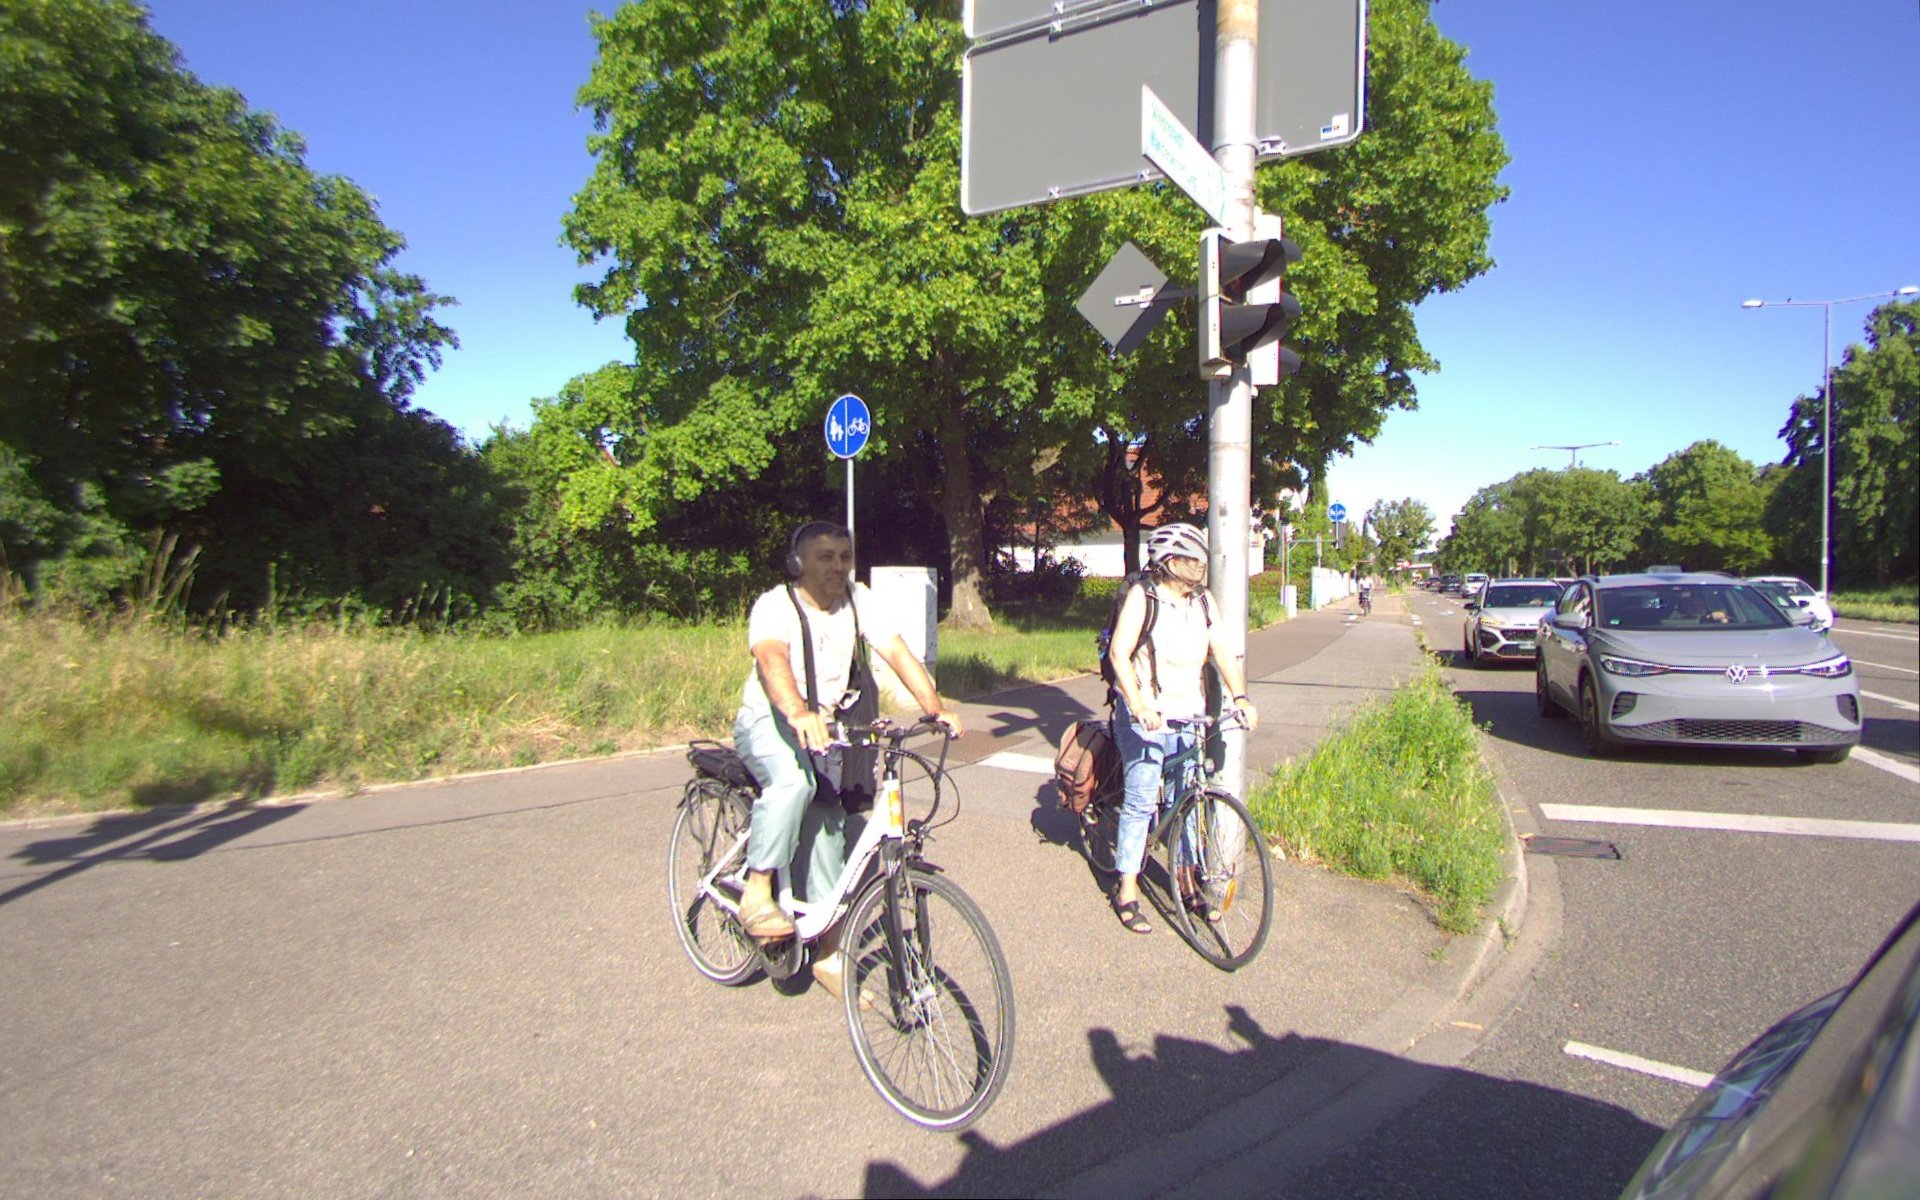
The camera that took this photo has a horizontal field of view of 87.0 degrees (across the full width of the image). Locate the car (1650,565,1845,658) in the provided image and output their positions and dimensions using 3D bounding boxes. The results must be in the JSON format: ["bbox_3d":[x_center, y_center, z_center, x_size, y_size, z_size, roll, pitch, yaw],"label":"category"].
[{"bbox_3d":[14.494,0.147,18.919,1.901,1.504,4.327,-2,1,25],"label":"car"}]

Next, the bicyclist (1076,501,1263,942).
[{"bbox_3d":[0.866,0.450,4.274,0.516,1.716,0.587,-2,4,-26],"label":"bicyclist"}]

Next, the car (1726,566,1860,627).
[{"bbox_3d":[21.869,-0.134,26.735,1.674,1.458,3.881,-2,1,24],"label":"car"}]

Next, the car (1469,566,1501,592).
[{"bbox_3d":[39.292,-1.580,75.828,1.779,1.820,3.881,-2,1,24],"label":"car"}]

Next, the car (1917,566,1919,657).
[{"bbox_3d":[15.342,0.241,14.042,1.674,1.458,4.089,0,1,24],"label":"car"}]

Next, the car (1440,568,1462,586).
[{"bbox_3d":[50.700,-2.382,104.572,1.821,1.820,3.881,-2,1,24],"label":"car"}]

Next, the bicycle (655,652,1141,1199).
[{"bbox_3d":[-0.330,0.846,3.286,0.522,1.089,1.868,-4,7,-41],"label":"bicycle"}]

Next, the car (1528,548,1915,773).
[{"bbox_3d":[6.947,0.419,9.843,1.972,1.661,4.331,-2,1,23],"label":"car"}]

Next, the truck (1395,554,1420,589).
[{"bbox_3d":[42.556,-2.709,96.361,1.977,3.115,5.763,-2,0,23],"label":"truck"}]

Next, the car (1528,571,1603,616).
[{"bbox_3d":[22.166,-0.272,37.185,1.901,1.504,4.327,-2,1,25],"label":"car"}]

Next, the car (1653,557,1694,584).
[{"bbox_3d":[60.001,-2.485,85.216,1.897,2.111,4.503,-2,1,24],"label":"car"}]

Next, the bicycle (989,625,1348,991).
[{"bbox_3d":[0.788,0.754,4.476,0.520,1.089,1.874,-2,5,-26],"label":"bicycle"}]

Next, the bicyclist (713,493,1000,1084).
[{"bbox_3d":[-0.342,0.497,3.269,0.534,1.654,0.806,-4,5,-42],"label":"bicyclist"}]

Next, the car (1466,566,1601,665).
[{"bbox_3d":[10.455,0.220,18.711,1.674,1.593,4.089,-2,1,24],"label":"car"}]
